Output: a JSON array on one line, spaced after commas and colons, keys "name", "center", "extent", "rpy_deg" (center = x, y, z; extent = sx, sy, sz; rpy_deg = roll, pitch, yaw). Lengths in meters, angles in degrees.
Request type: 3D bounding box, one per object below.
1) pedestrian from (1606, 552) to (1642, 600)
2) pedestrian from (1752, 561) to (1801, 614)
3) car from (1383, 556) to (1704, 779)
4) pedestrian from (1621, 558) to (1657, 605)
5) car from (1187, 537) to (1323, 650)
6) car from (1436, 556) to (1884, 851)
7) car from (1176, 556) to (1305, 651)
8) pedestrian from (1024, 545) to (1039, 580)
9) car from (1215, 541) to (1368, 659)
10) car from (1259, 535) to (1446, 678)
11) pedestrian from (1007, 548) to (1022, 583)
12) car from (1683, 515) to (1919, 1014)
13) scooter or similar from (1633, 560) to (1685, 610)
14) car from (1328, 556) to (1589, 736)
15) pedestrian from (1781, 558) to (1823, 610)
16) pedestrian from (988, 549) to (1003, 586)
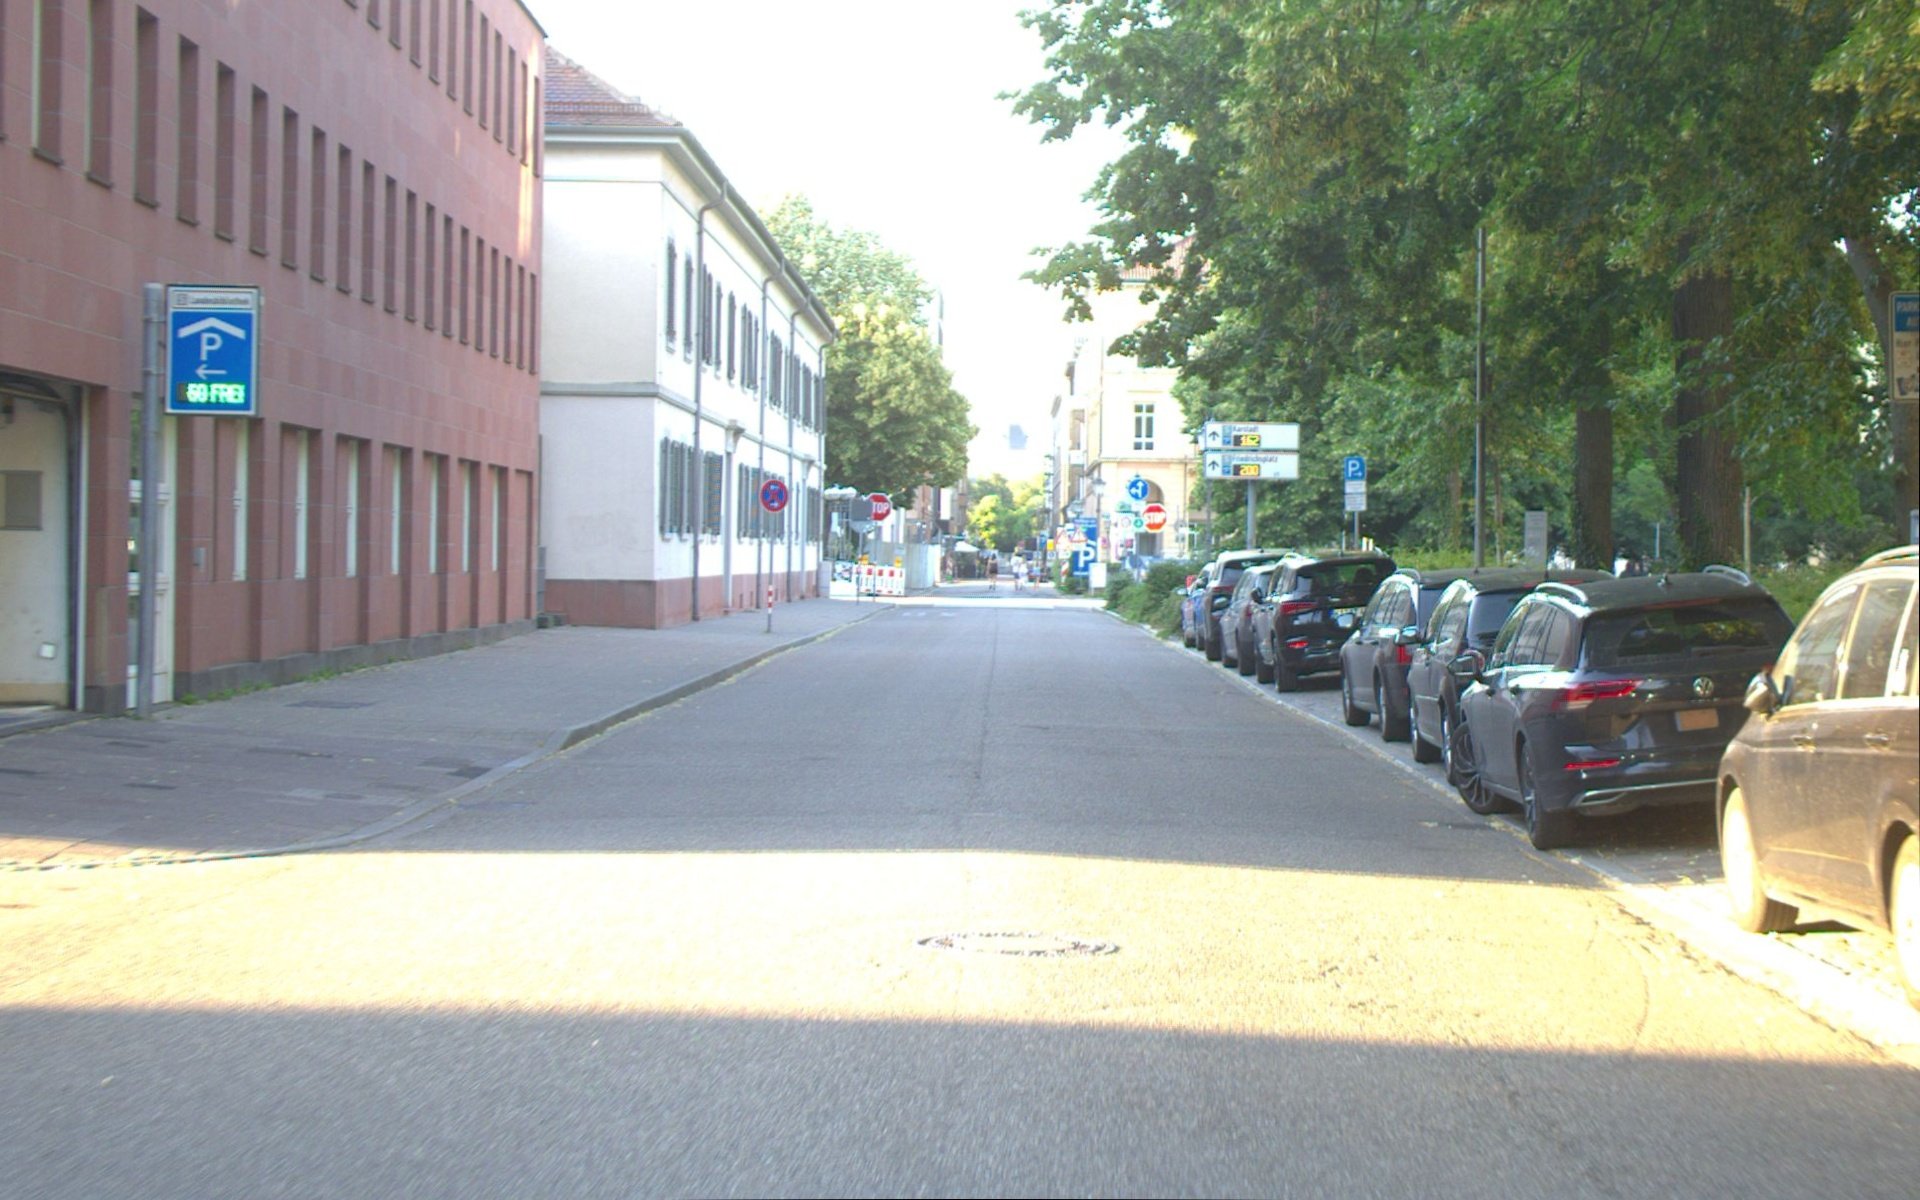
[{"name": "pedestrian", "center": [16.662, -0.605, 86.304], "extent": [0.663, 1.187, 0.794], "rpy_deg": [1, 0, 29]}, {"name": "pedestrian", "center": [21.093, -0.326, 88.811], "extent": [0.916, 1.343, 0.885], "rpy_deg": [0, 0, -15]}, {"name": "car", "center": [4.292, 0.466, 25.848], "extent": [1.724, 1.528, 4.189], "rpy_deg": [0, 0, 0]}, {"name": "pedestrian", "center": [17.225, -0.476, 87.199], "extent": [0.807, 1.187, 0.789], "rpy_deg": [0, 0, 4]}, {"name": "car", "center": [4.496, -0.095, 52.961], "extent": [1.724, 1.646, 4.713], "rpy_deg": [0, 0, 0]}, {"name": "car", "center": [3.971, 0.541, 20.257], "extent": [1.724, 1.528, 4.623], "rpy_deg": [0, 0, 0]}, {"name": "car", "center": [4.787, 0.038, 59.179], "extent": [1.724, 1.483, 4.611], "rpy_deg": [-3, 1, -1]}, {"name": "pedestrian", "center": [3.363, -1.767, 162.050], "extent": [0.657, 1.611, 0.745], "rpy_deg": [1, 1, 1]}, {"name": "car", "center": [4.496, 0.004, 47.099], "extent": [1.724, 1.533, 4.189], "rpy_deg": [0, 0, 0]}, {"name": "car", "center": [4.747, 0.076, 42.067], "extent": [1.807, 1.646, 4.418], "rpy_deg": [0, 0, 0]}, {"name": "pedestrian", "center": [2.603, -1.650, 164.039], "extent": [0.657, 1.630, 0.745], "rpy_deg": [1, 1, 1]}, {"name": "car", "center": [4.104, 0.557, 13.216], "extent": [1.724, 1.676, 4.499], "rpy_deg": [0, 0, 0]}, {"name": "scooter or similar", "center": [17.512, -0.387, 86.163], "extent": [1.216, 1.241, 0.418], "rpy_deg": [0, 0, -15]}, {"name": "car", "center": [4.418, 0.387, 31.070], "extent": [1.735, 1.501, 4.522], "rpy_deg": [0, 0, 0]}, {"name": "pedestrian", "center": [21.873, -0.423, 89.278], "extent": [0.758, 1.343, 0.788], "rpy_deg": [0, 0, -15]}, {"name": "pedestrian", "center": [1.703, -1.570, 164.063], "extent": [0.657, 1.754, 0.745], "rpy_deg": [1, 0, 2]}]
